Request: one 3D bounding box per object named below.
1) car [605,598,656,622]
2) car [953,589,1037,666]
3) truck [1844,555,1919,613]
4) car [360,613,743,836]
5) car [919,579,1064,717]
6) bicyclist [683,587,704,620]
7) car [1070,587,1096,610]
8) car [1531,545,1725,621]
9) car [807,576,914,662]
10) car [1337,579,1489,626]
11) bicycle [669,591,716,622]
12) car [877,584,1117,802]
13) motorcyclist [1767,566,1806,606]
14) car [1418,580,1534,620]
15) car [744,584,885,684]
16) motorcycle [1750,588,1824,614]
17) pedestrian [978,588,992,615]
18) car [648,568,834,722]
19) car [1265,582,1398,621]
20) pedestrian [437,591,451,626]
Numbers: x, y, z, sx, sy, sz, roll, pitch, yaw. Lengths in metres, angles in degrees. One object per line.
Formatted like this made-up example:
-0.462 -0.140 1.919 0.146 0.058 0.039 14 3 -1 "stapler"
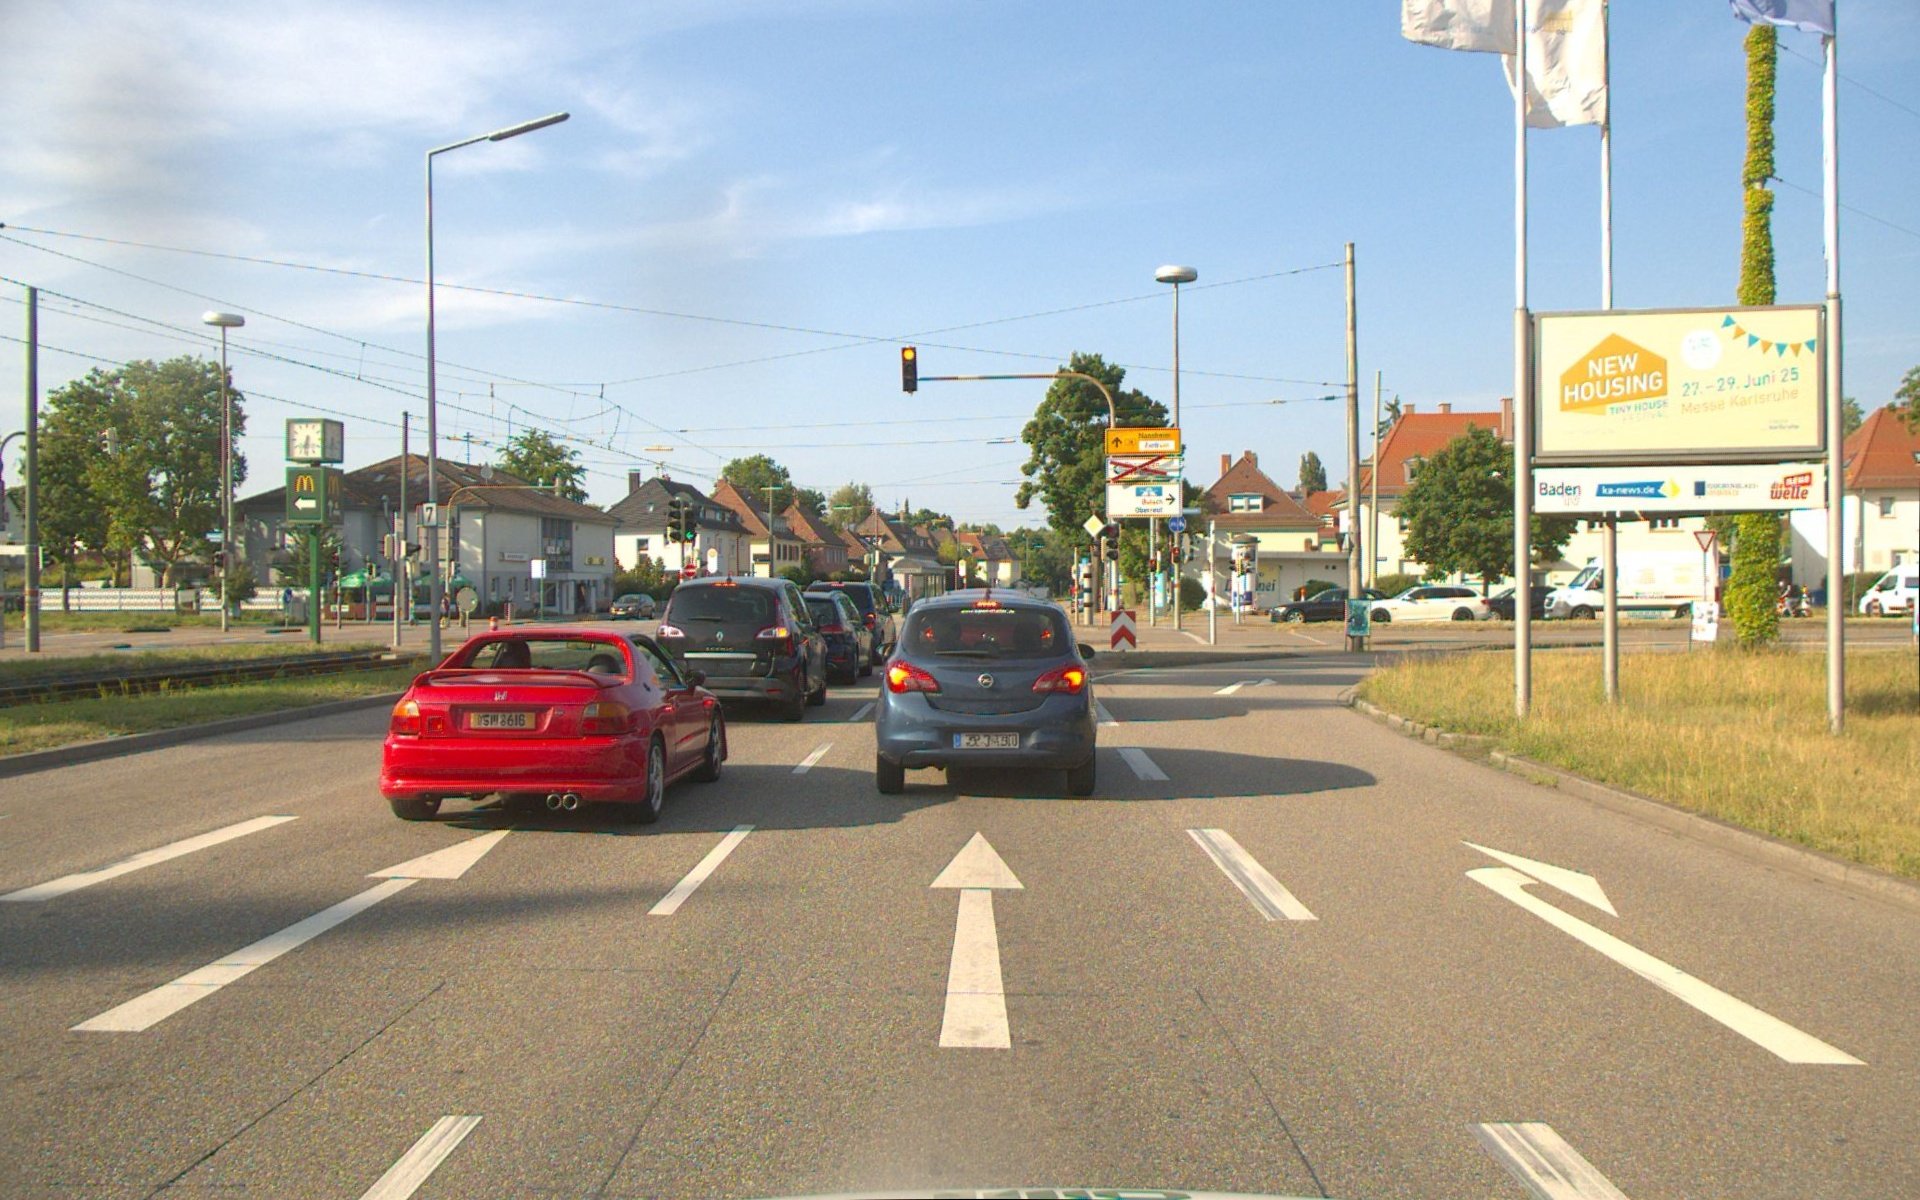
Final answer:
-19.264 0.612 96.896 1.628 1.369 4.080 -1 -1 8 "car"
0.711 0.516 34.245 1.622 1.468 4.015 -1 0 1 "car"
43.004 -0.730 73.550 2.248 2.568 6.290 -1 1 -31 "truck"
-2.694 0.758 11.807 1.695 1.227 3.847 1 1 1 "car"
0.386 0.548 21.224 1.671 1.579 3.978 -1 0 0 "car"
-12.198 0.164 75.693 0.867 1.456 1.135 1 -1 -6 "bicyclist"
8.000 -0.078 107.970 1.639 1.422 4.002 1 0 4 "car"
23.751 -0.593 58.967 6.078 2.629 2.001 0 0 3 "car"
-2.029 0.350 34.908 1.474 1.680 4.747 -1 0 6 "car"
16.191 0.093 59.330 4.987 1.590 1.841 -1 0 4 "car"
-12.246 0.320 75.695 2.034 1.371 1.107 1 -1 -6 "bicycle"
0.261 0.640 13.926 1.706 1.532 4.222 0 1 0 "car"
28.926 -0.487 57.887 1.043 1.375 0.680 0 0 2 "motorcyclist"
19.519 -0.008 62.655 3.903 1.478 1.717 -1 0 4 "car"
-2.350 0.508 27.792 1.664 1.534 4.556 0 0 4 "car"
28.935 0.037 57.892 2.224 0.882 0.691 0 0 2 "motorcycle"
1.446 0.095 96.455 0.737 1.525 0.827 1 -1 5 "pedestrian"
-2.566 0.477 20.292 1.727 1.700 4.084 0 0 0 "car"
14.110 0.046 63.059 4.722 1.436 1.717 -1 0 4 "car"
-23.902 0.394 76.621 0.501 1.627 0.540 0 0 0 "pedestrian"
